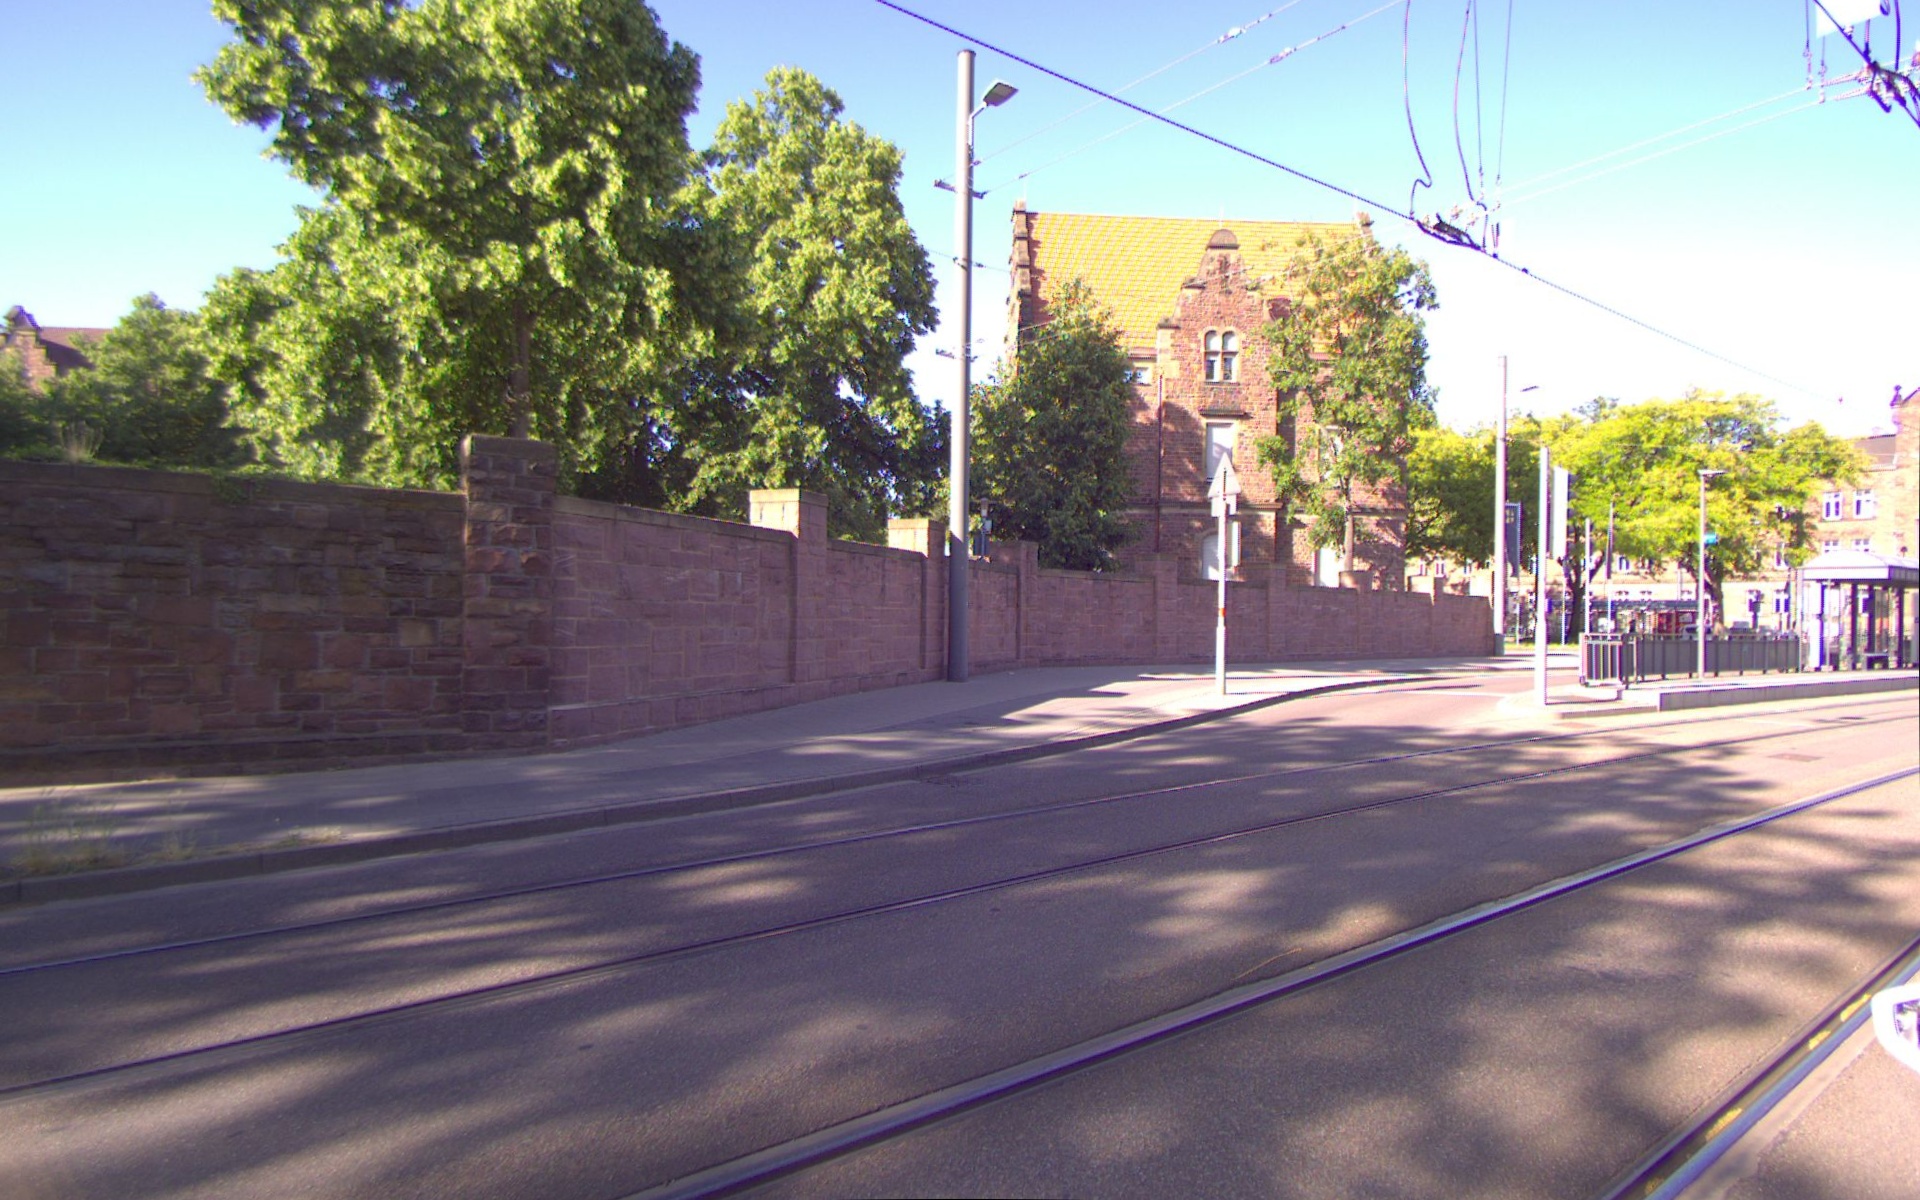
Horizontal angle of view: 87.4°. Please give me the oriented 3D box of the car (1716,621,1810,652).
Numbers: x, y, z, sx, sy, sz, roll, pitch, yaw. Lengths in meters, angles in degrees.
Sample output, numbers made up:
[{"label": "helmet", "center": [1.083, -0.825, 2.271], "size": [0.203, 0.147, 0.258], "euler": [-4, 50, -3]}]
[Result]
[{"label": "car", "center": [47.746, 2.160, 59.798], "size": [1.798, 1.651, 3.964], "euler": [2, 0, -32]}]

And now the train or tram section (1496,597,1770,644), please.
[{"label": "train or tram section", "center": [50.020, 1.458, 75.887], "size": [3.312, 3.196, 17.280], "euler": [2, -1, -33]}]

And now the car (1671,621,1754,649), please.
[{"label": "car", "center": [49.170, 2.242, 65.682], "size": [1.798, 1.651, 3.964], "euler": [2, 0, -32]}]
